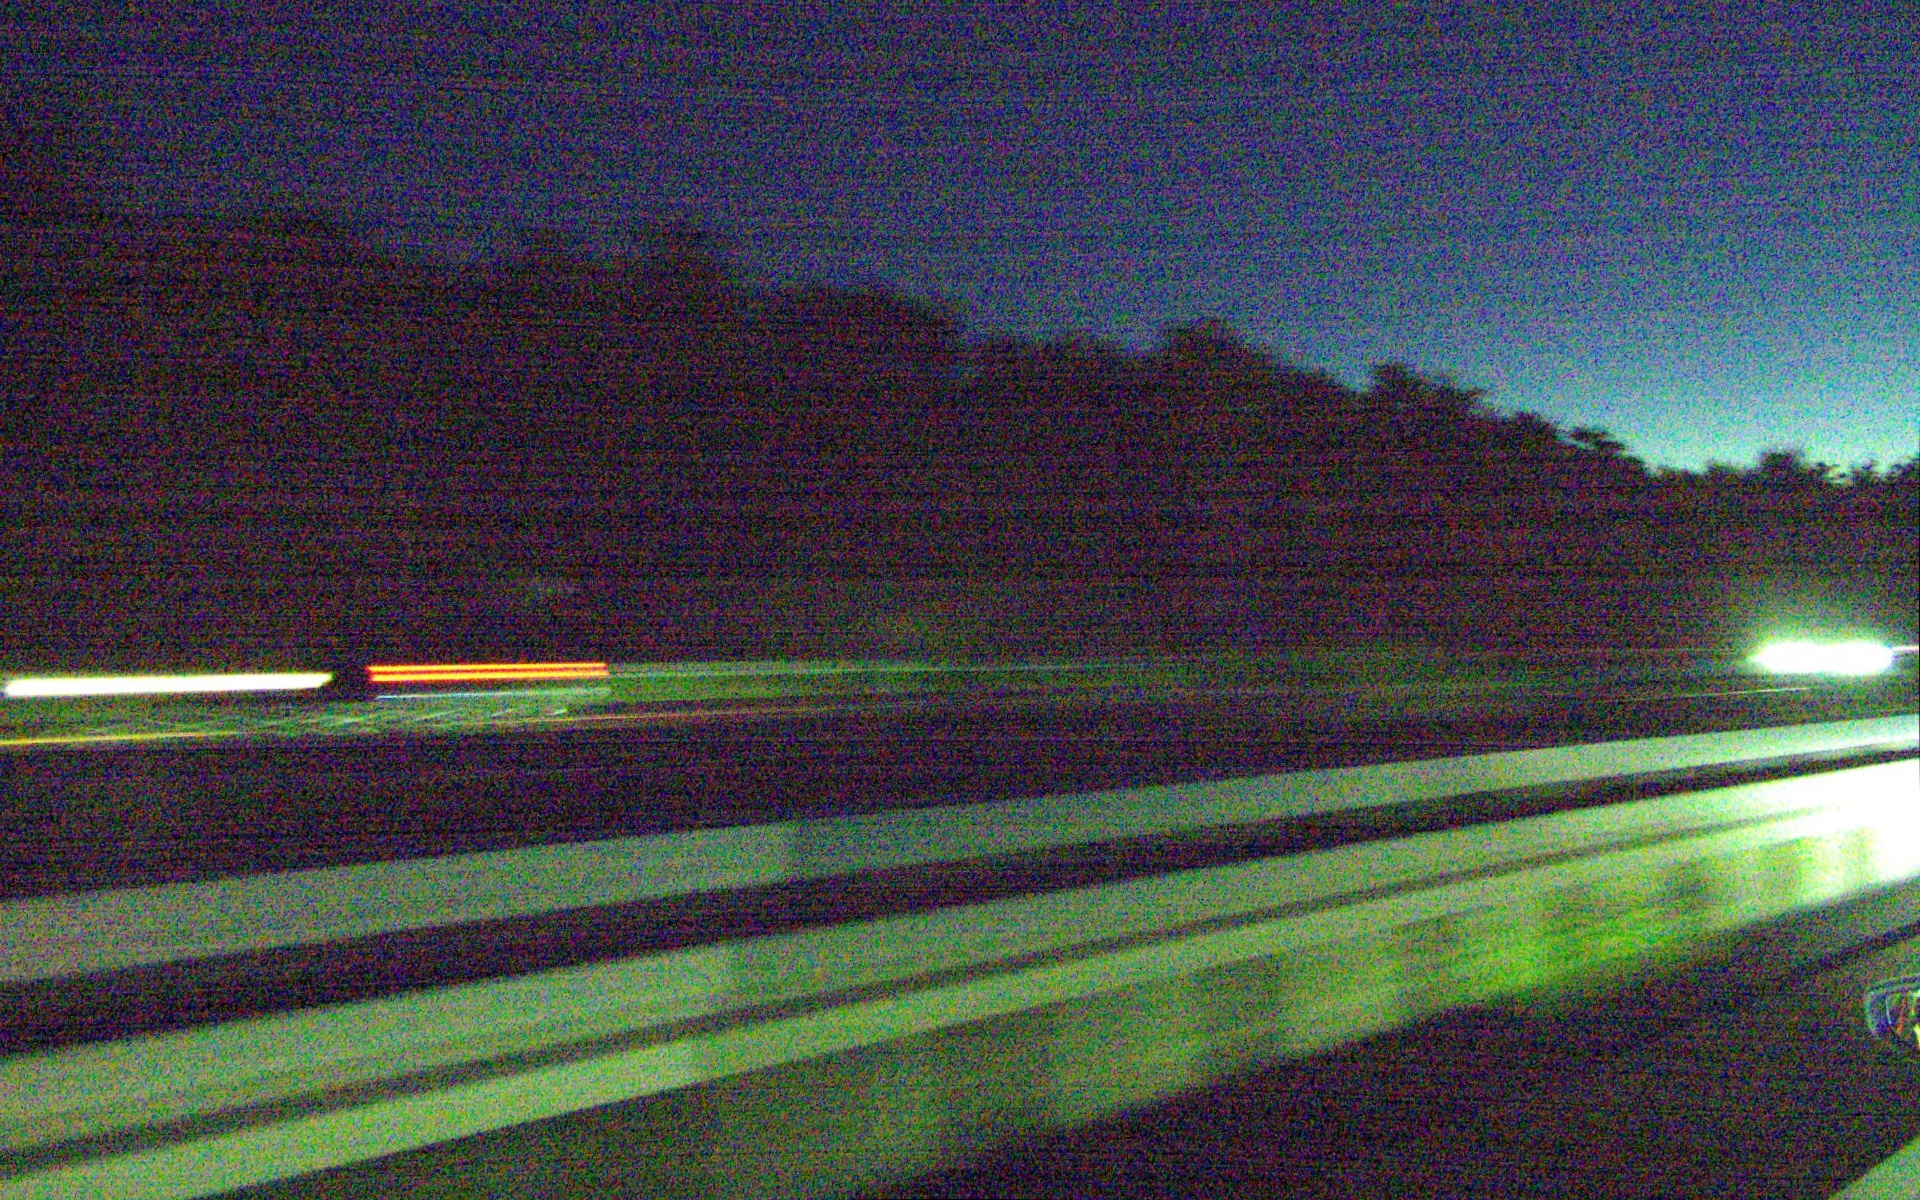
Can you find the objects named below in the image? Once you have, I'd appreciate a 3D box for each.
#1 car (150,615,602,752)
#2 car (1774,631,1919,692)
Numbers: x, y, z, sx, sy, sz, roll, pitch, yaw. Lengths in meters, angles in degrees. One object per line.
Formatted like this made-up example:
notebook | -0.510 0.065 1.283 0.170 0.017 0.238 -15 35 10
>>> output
car | -7.633 1.073 13.647 4.946 1.571 1.985 1 -4 -31
car | 24.877 1.686 27.814 4.946 1.571 1.985 1 -4 -31
